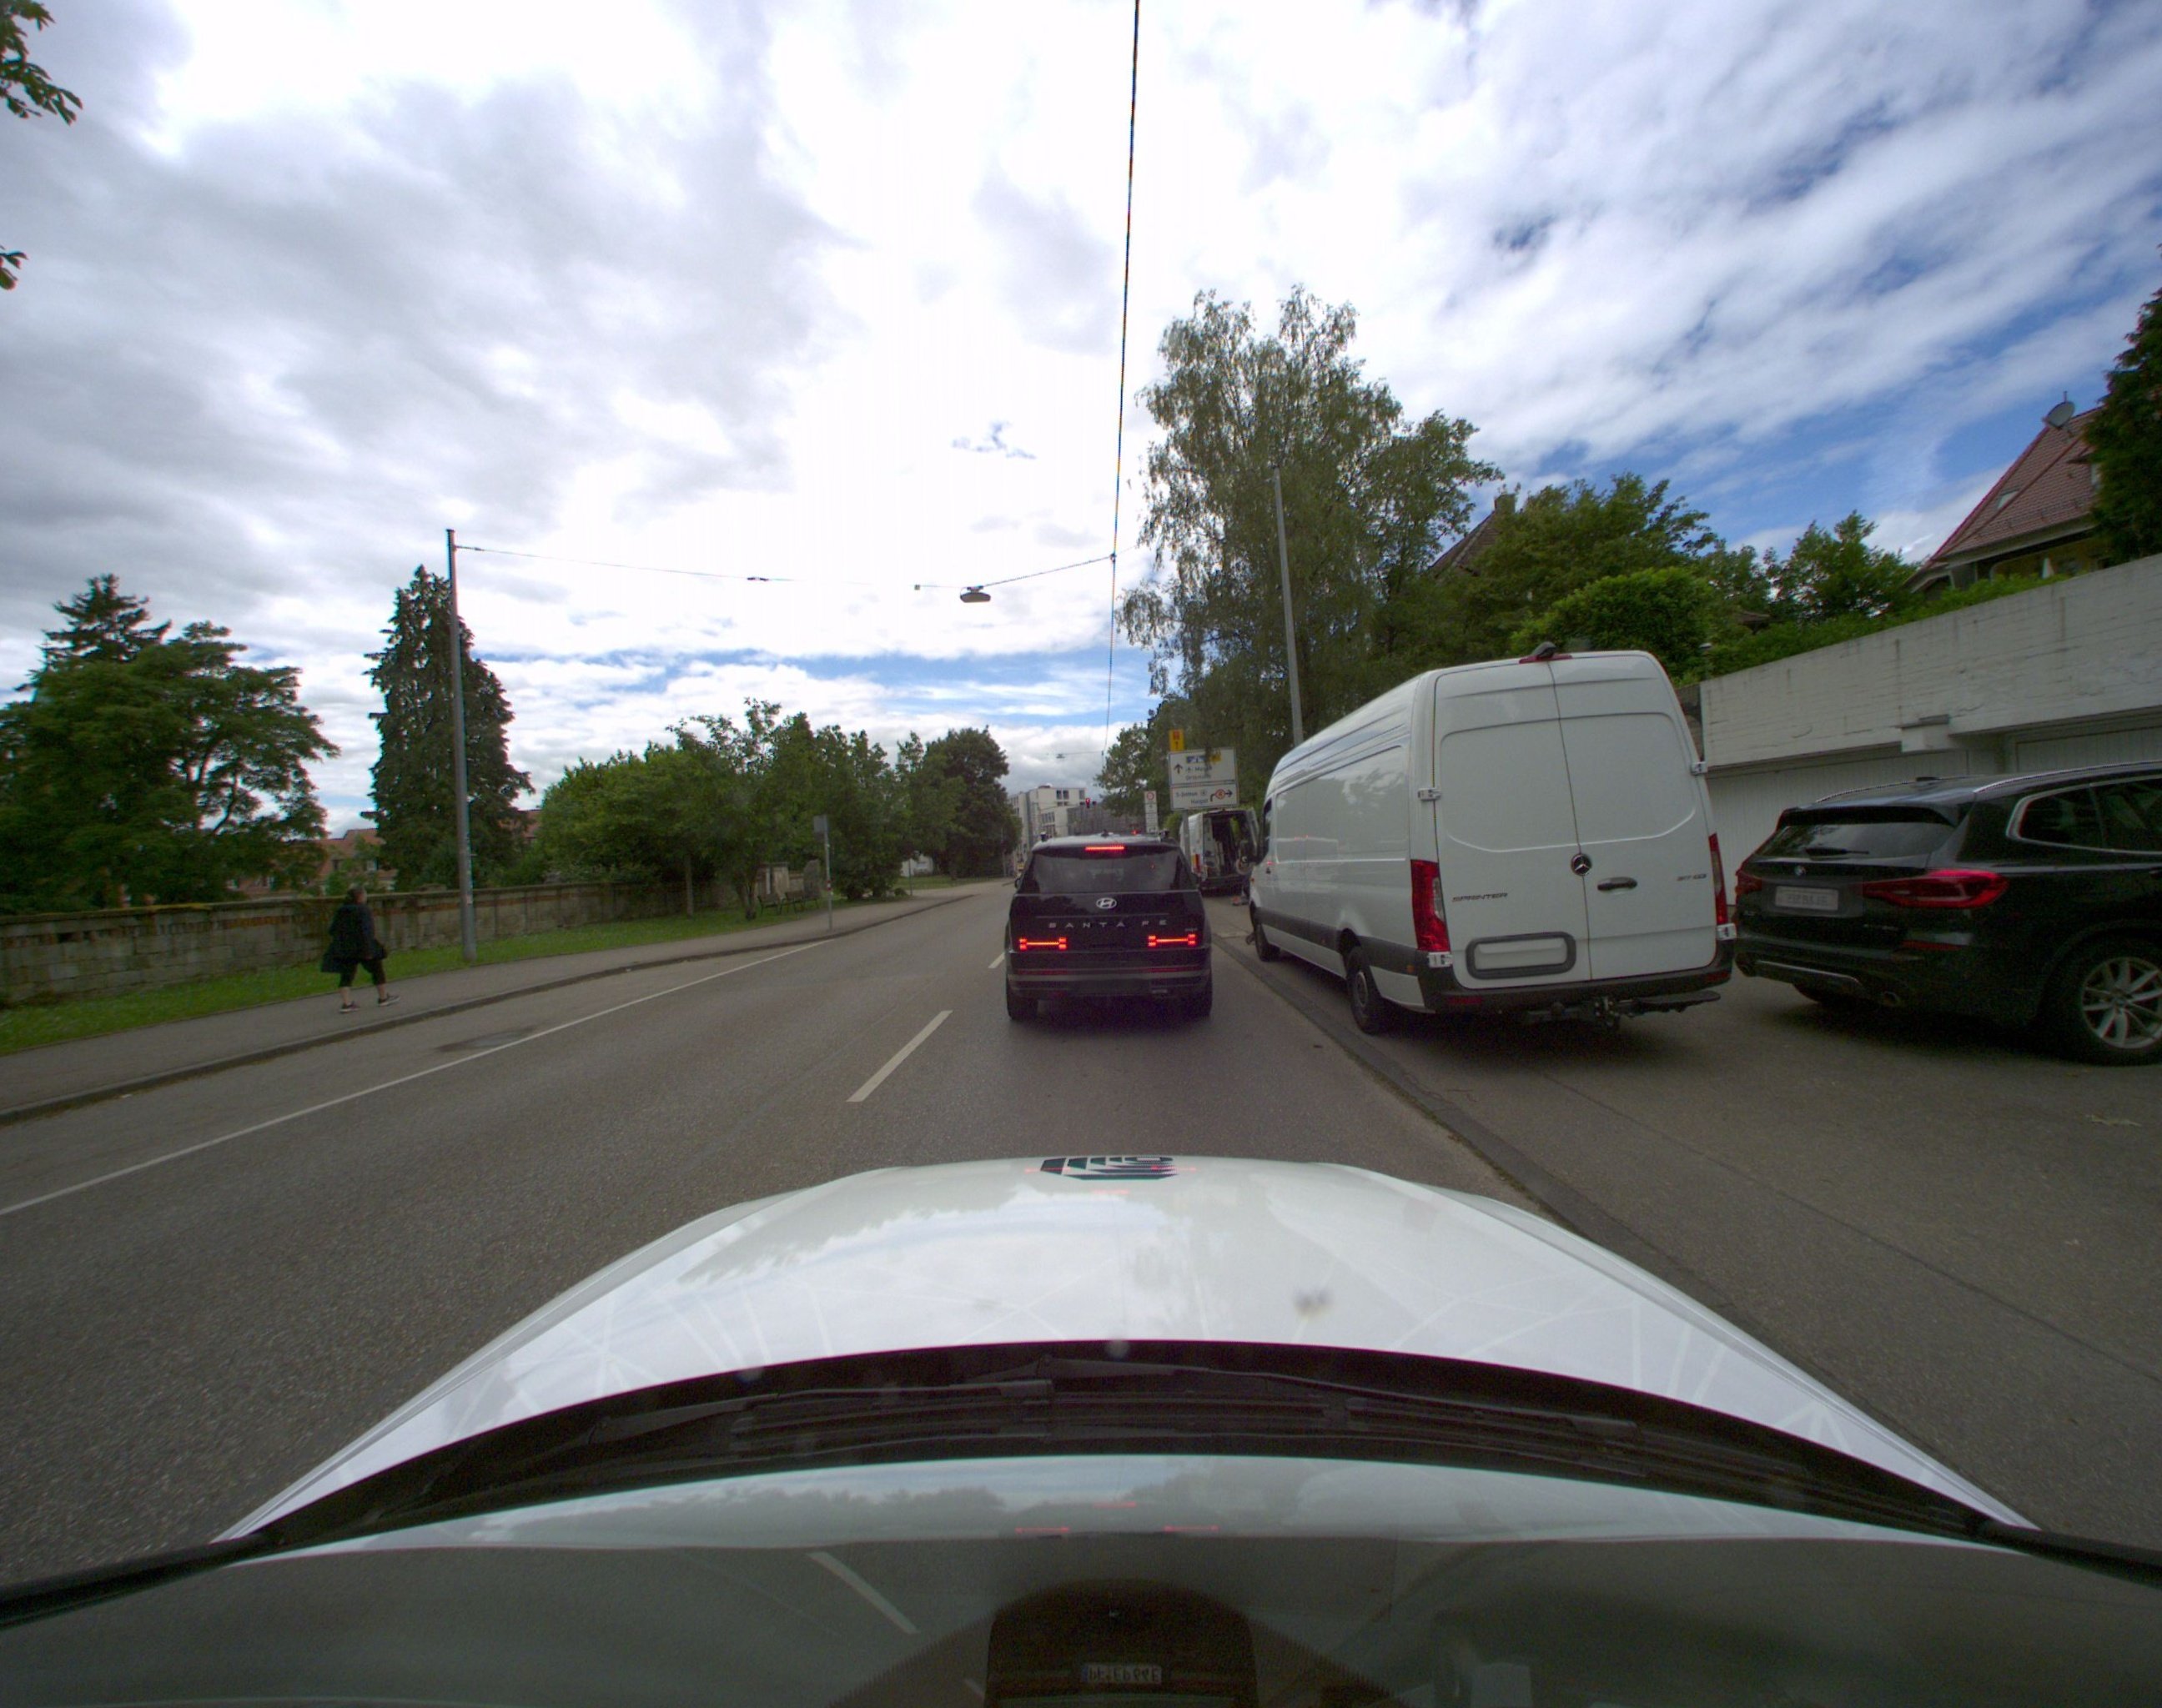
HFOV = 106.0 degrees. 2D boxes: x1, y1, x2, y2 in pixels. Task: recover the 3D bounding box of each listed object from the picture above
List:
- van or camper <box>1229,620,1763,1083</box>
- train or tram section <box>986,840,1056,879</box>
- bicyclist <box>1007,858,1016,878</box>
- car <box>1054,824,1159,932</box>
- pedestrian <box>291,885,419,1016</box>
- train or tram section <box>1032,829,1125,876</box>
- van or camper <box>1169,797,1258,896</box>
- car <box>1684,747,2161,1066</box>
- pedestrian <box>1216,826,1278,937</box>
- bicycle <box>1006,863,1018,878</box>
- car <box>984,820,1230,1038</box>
[{"bbox_3d":[3.091,-0.017,8.118,1.957,2.627,6.359,-6,0,1],"label":"van or camper"},{"bbox_3d":[-8.485,0.875,110.273,3.208,4.523,18.530,-1,-2,-24],"label":"train or tram section"},{"bbox_3d":[-5.992,1.196,70.427,0.675,1.659,0.855,-1,-2,-12],"label":"bicyclist"},{"bbox_3d":[0.535,0.465,17.698,1.957,2.001,4.001,-2,0,1],"label":"car"},{"bbox_3d":[-9.474,1.228,10.668,0.746,1.578,0.967,-2,0,1],"label":"pedestrian"},{"bbox_3d":[-0.732,0.093,93.295,3.208,4.523,18.530,-1,-2,-24],"label":"train or tram section"},{"bbox_3d":[4.240,-0.223,26.934,1.957,2.797,5.288,-5,0,1],"label":"van or camper"},{"bbox_3d":[6.848,0.181,5.291,4.376,1.652,1.831,-4,0,2],"label":"car"},{"bbox_3d":[2.755,0.451,13.540,0.620,1.743,0.601,-6,-1,-22],"label":"pedestrian"},{"bbox_3d":[-5.985,1.429,70.391,0.675,1.279,2.491,-1,-2,-11],"label":"bicycle"},{"bbox_3d":[0.251,0.616,8.677,1.957,1.711,4.001,-2,0,1],"label":"car"}]
